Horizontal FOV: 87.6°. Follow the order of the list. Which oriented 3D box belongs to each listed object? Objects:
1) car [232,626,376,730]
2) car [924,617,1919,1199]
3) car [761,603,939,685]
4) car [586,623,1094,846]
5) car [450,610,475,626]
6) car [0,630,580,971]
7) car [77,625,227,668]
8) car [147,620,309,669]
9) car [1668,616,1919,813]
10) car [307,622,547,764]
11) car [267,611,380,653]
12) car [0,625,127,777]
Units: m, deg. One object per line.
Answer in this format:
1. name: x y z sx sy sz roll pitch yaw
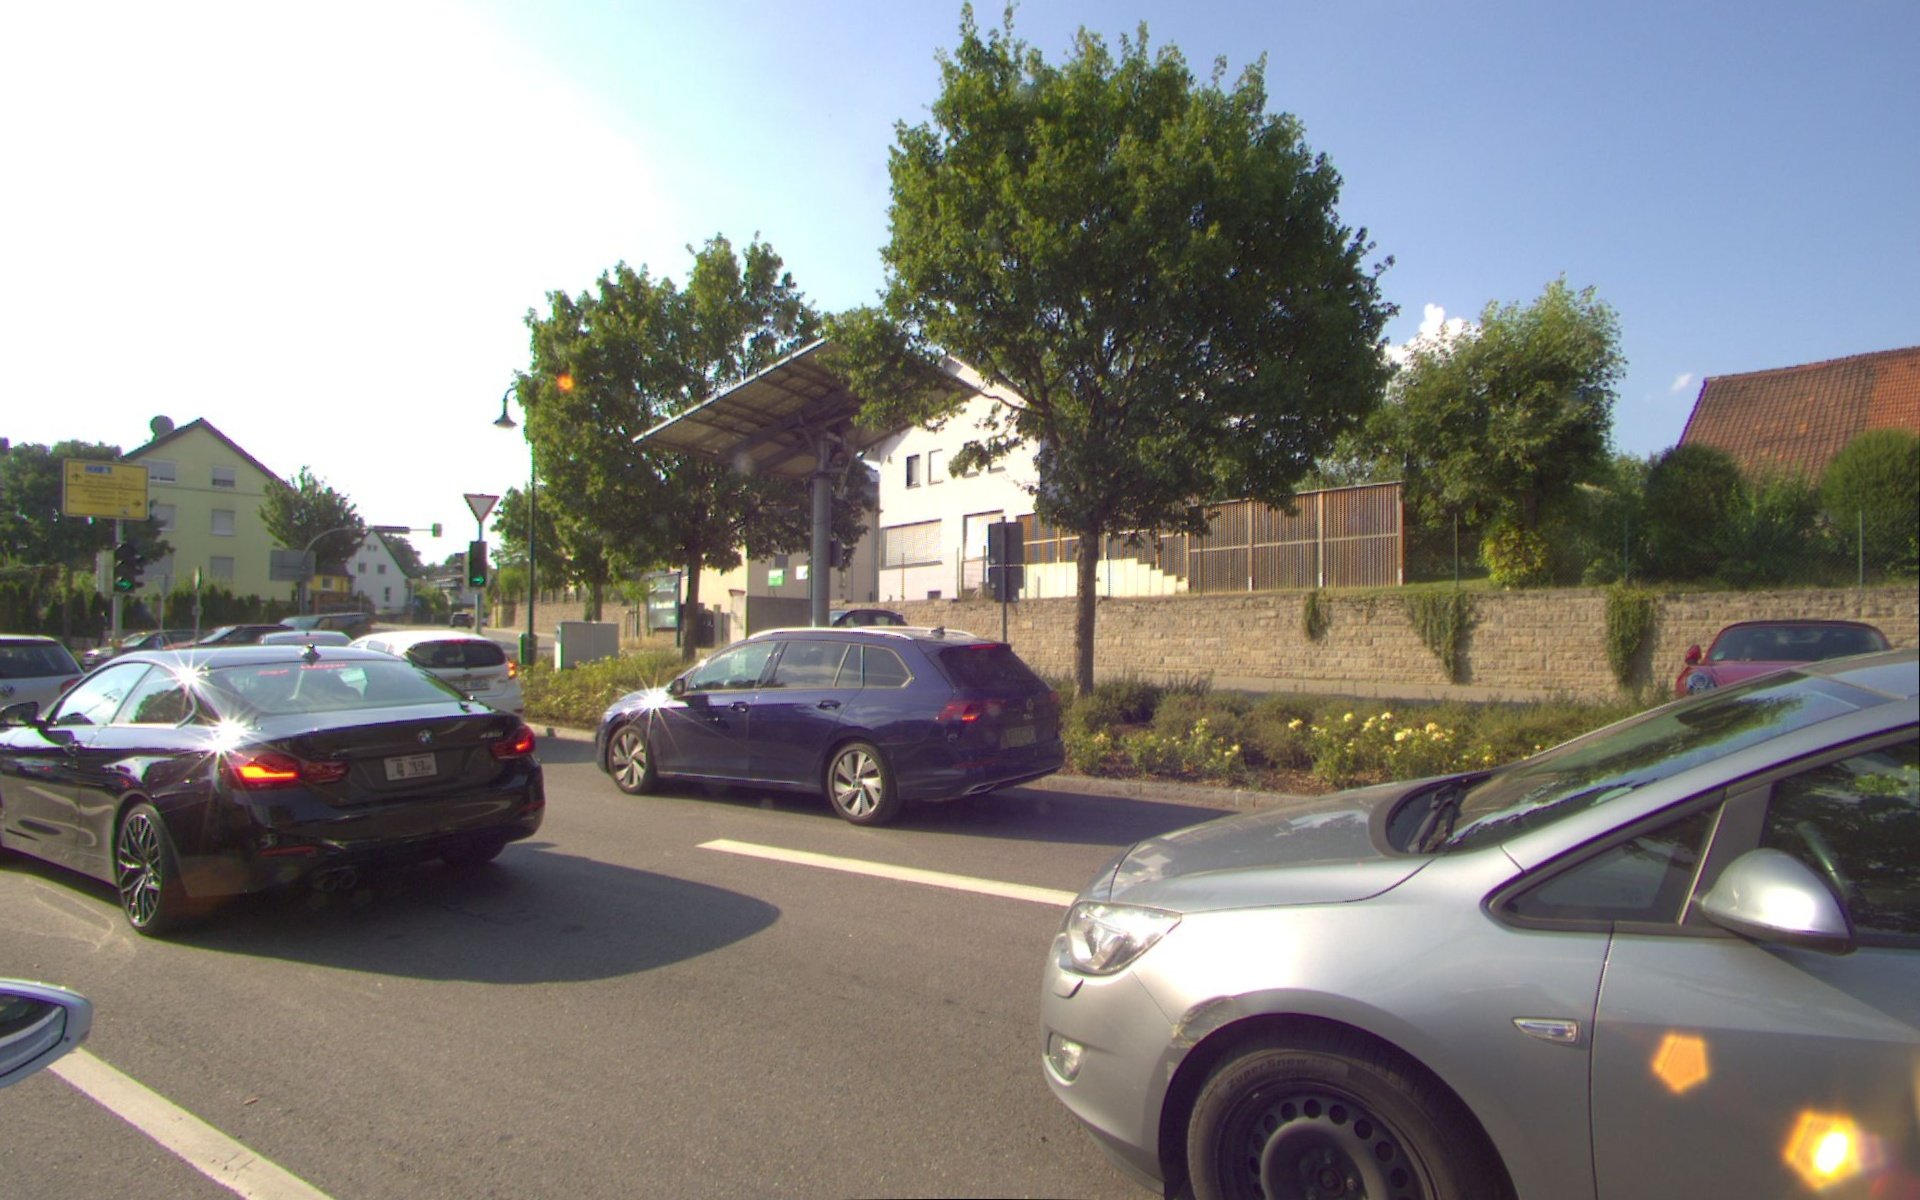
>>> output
1. car: -11.750 1.270 17.816 1.643 1.562 4.362 -1 0 -40
2. car: 2.177 0.784 2.164 4.256 1.472 1.758 -1 0 31
3. car: -2.374 0.959 22.300 1.758 1.653 3.800 -1 -2 40
4. car: -1.154 0.948 8.648 4.259 1.472 1.757 -1 0 34
5. car: -52.604 1.919 105.987 1.938 1.701 4.204 0 -1 -21
6. car: -4.431 0.915 6.189 4.220 1.416 1.758 -1 0 33
7. car: -30.070 1.714 37.365 1.821 1.508 3.983 -1 -2 30
8. car: -26.484 1.593 36.411 1.818 1.662 4.418 0 -2 25
9. car: 8.229 0.952 9.748 1.758 1.510 4.120 -1 -2 41
10. car: -6.914 1.080 12.890 3.278 1.562 1.611 -1 0 40
11. car: -28.283 1.412 44.714 1.812 1.761 4.786 0 -2 3
12. car: -10.802 1.012 10.781 3.848 1.444 1.758 -1 0 33
